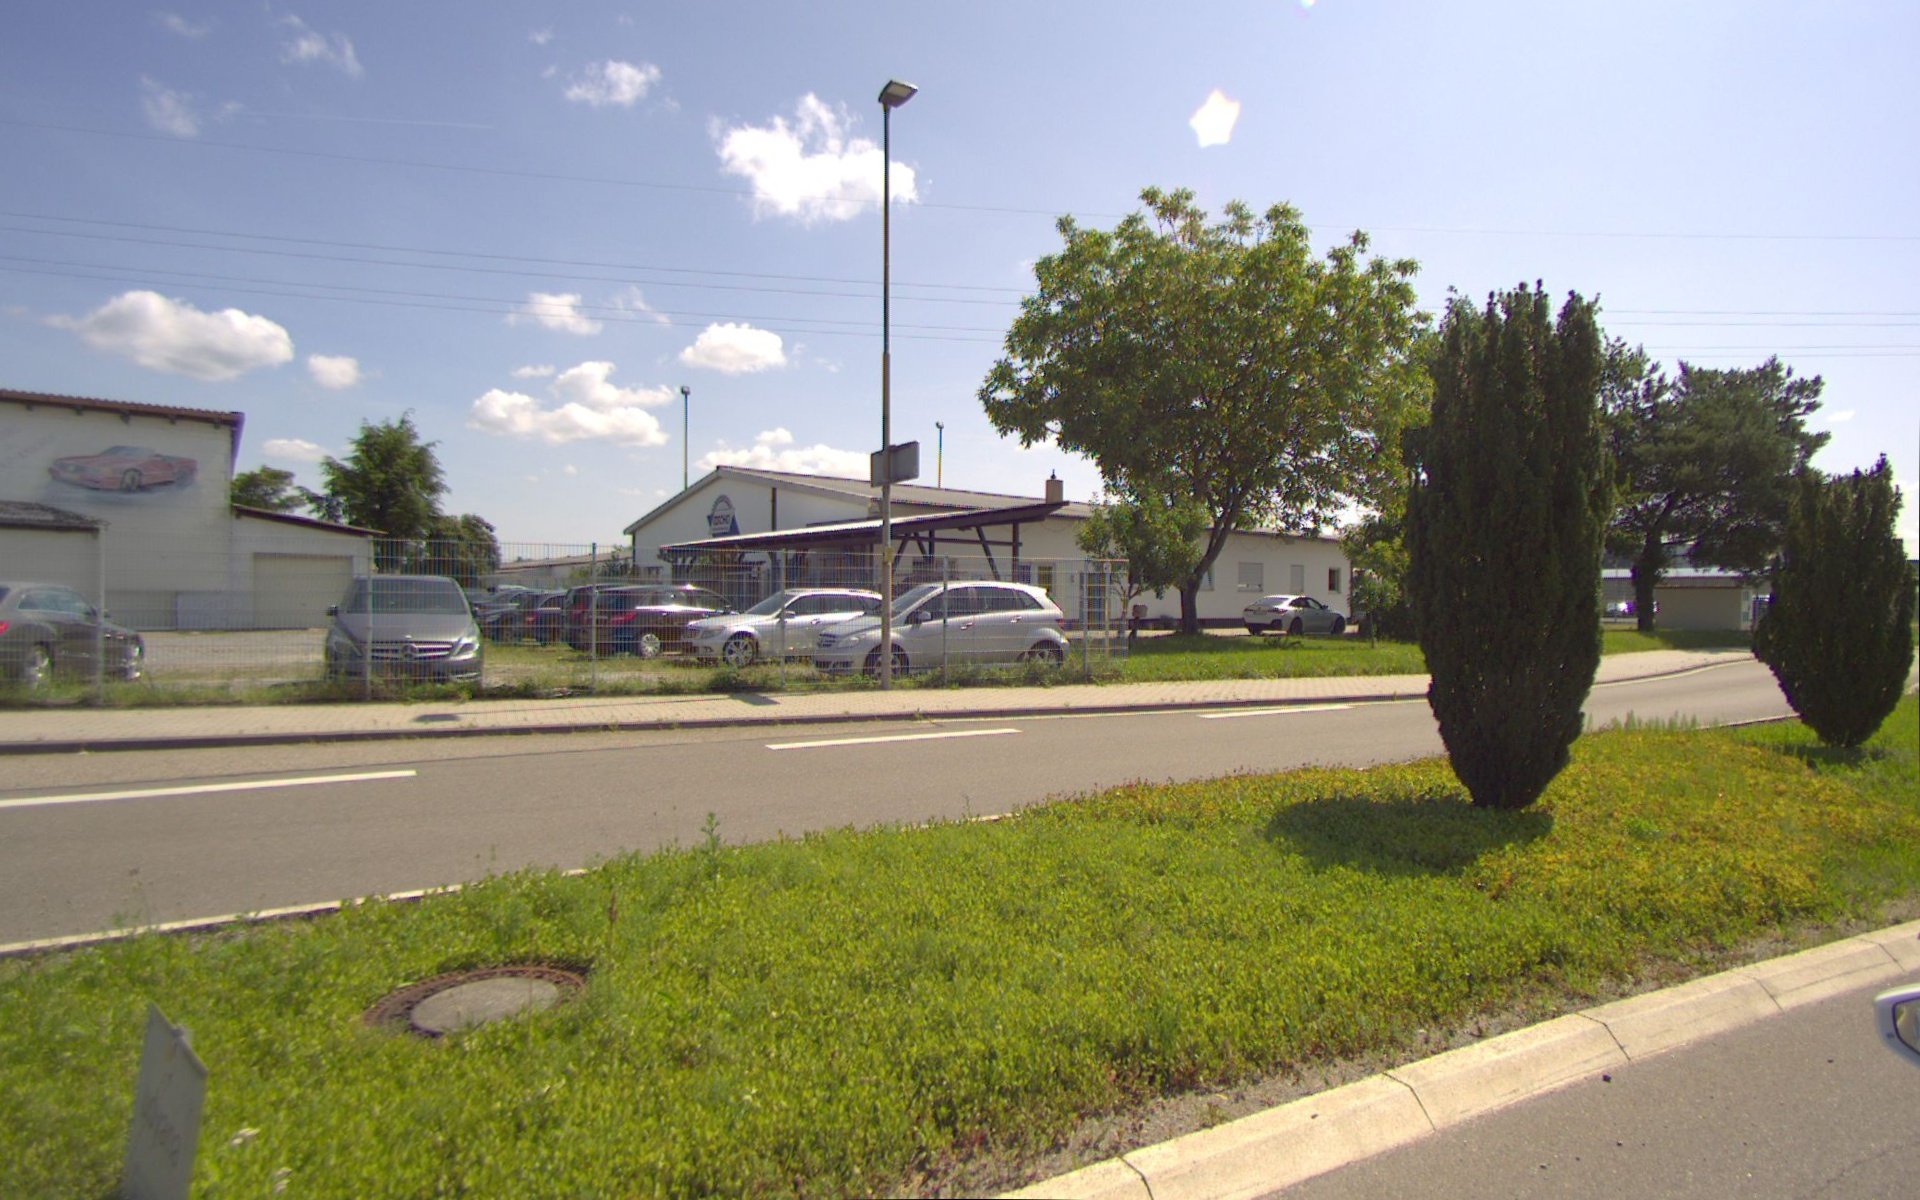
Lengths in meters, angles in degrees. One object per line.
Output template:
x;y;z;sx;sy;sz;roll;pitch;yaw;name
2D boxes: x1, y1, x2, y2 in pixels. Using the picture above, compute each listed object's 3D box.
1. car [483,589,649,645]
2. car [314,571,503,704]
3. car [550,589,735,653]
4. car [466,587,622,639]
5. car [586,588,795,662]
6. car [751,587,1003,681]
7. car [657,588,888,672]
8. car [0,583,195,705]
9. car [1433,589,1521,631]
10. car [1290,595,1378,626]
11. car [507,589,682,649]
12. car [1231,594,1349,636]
-11.079;0.461;28.316;3.964;1.461;1.978;1;0;-38;car
-7.607;0.445;13.813;1.977;1.539;3.967;1;0;-31;car
-7.877;0.511;25.040;3.964;1.461;1.978;1;0;-38;car
-12.418;0.388;30.056;3.964;1.461;1.978;1;0;-38;car
-5.836;0.522;21.898;3.964;1.461;1.978;1;0;-38;car
-1.402;0.552;17.579;3.963;1.461;1.979;1;0;-37;car
-3.605;0.546;19.559;3.964;1.461;1.978;1;0;-38;car
-11.629;0.480;12.787;1.664;1.339;3.878;1;0;-16;car
22.877;0.444;44.417;4.194;1.768;1.977;1;0;-40;car
19.814;0.521;53.371;1.923;1.545;3.949;0;1;-43;car
-9.674;0.495;26.685;3.964;1.461;1.978;1;0;-38;car
11.968;0.544;36.345;4.479;1.427;1.977;1;0;-40;car
